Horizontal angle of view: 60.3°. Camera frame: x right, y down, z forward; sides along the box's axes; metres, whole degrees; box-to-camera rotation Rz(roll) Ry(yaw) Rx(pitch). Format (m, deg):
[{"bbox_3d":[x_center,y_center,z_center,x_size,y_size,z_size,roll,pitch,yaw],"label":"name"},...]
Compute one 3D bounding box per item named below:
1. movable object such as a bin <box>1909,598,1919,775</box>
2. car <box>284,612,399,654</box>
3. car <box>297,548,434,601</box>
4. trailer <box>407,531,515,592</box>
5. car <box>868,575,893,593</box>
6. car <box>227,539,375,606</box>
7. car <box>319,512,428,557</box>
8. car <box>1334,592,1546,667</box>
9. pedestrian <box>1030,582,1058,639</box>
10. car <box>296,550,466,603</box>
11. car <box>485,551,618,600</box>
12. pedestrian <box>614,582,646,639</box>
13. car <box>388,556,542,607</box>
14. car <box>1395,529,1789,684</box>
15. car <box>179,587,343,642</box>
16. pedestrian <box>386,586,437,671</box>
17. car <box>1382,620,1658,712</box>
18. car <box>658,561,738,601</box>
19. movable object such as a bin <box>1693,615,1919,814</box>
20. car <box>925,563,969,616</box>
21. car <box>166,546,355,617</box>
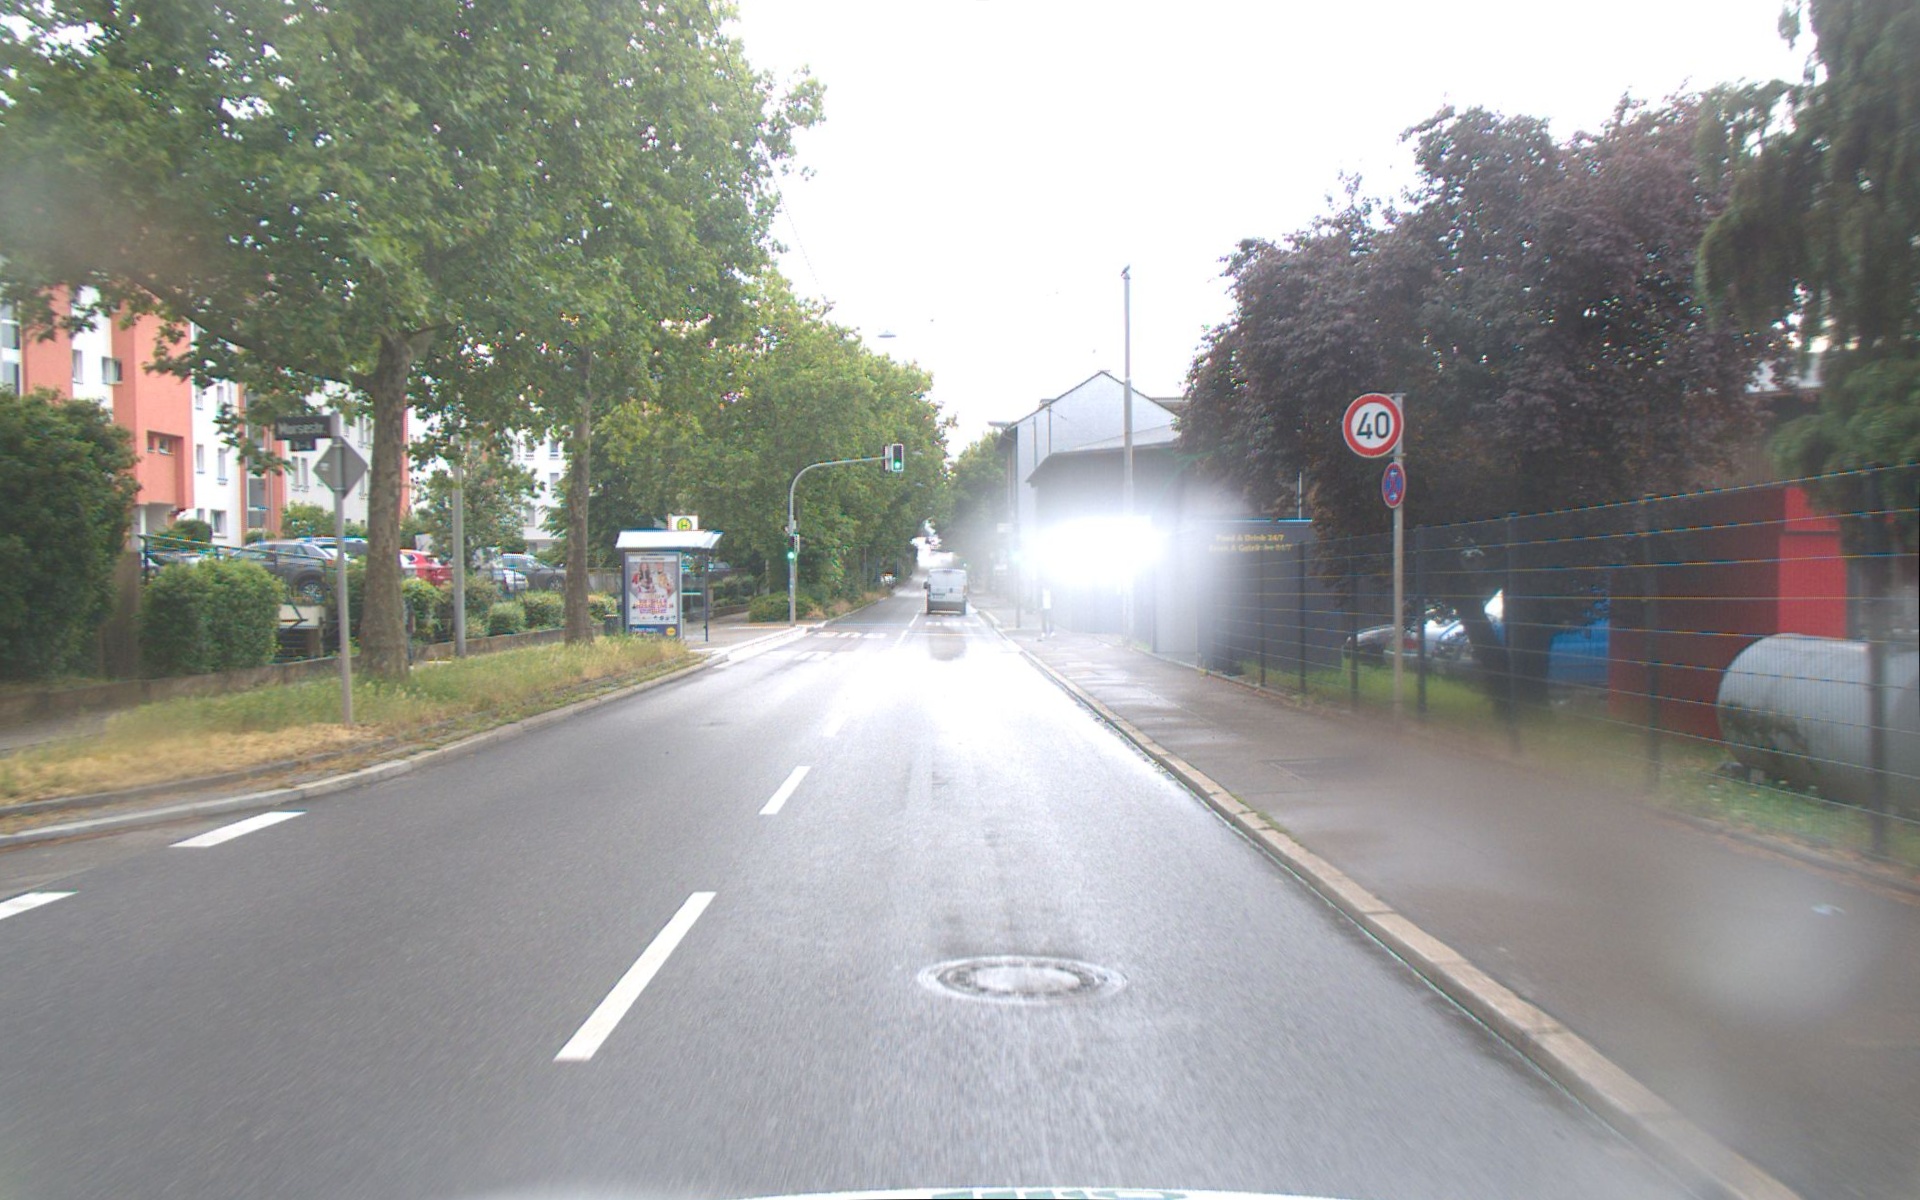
[{"bbox_3d":[10.404,0.833,14.342,3.264,1.605,1.890,1,0,-4],"label":"movable object such as a bin"},{"bbox_3d":[-23.738,1.266,63.562,3.733,1.538,1.717,1,-1,-3],"label":"car"},{"bbox_3d":[-15.669,-0.652,43.688,3.066,1.292,1.436,1,-1,-1],"label":"car"},{"bbox_3d":[-14.434,-1.098,47.960,2.649,1.674,1.480,1,0,0],"label":"trailer"},{"bbox_3d":[-8.169,-1.653,170.741,2.170,1.620,4.610,1,-1,1],"label":"car"},{"bbox_3d":[-16.401,-0.668,41.232,3.066,1.570,1.436,1,-1,-1],"label":"car"},{"bbox_3d":[-23.465,-2.621,66.300,3.733,1.630,1.717,1,-1,-3],"label":"car"},{"bbox_3d":[9.982,0.617,34.596,3.905,1.448,1.784,1,-1,0],"label":"car"},{"bbox_3d":[2.603,0.340,51.368,0.728,1.734,0.900,1,-1,-6],"label":"pedestrian"},{"bbox_3d":[-15.949,-0.622,45.705,4.005,1.325,1.809,1,-1,-1],"label":"car"},{"bbox_3d":[-15.242,-0.909,61.940,4.453,1.701,1.999,1,-1,-2],"label":"car"},{"bbox_3d":[-9.853,0.313,49.400,0.726,1.626,0.606,-4,-1,3],"label":"pedestrian"},{"bbox_3d":[-15.648,-0.570,52.414,4.267,1.449,1.859,1,-1,-1],"label":"car"},{"bbox_3d":[9.879,0.101,26.116,5.455,2.249,1.999,1,0,-3],"label":"car"},{"bbox_3d":[-19.671,0.414,46.656,3.888,1.429,1.589,1,-1,-1],"label":"car"},{"bbox_3d":[-10.906,0.568,32.910,0.740,1.639,0.834,1,-1,-5],"label":"pedestrian"},{"bbox_3d":[9.880,1.148,29.398,4.291,1.558,1.793,0,-1,-3],"label":"car"},{"bbox_3d":[-14.085,-1.018,89.084,4.085,2.049,1.718,1,0,-3],"label":"car"},{"bbox_3d":[7.230,0.830,13.115,1.343,1.343,2.856,1,1,-6],"label":"movable object such as a bin"},{"bbox_3d":[-0.660,-0.524,84.373,2.236,2.597,3.999,0,-1,0],"label":"car"},{"bbox_3d":[-16.227,-0.412,38.528,3.581,1.524,1.896,1,-1,-5],"label":"car"}]
